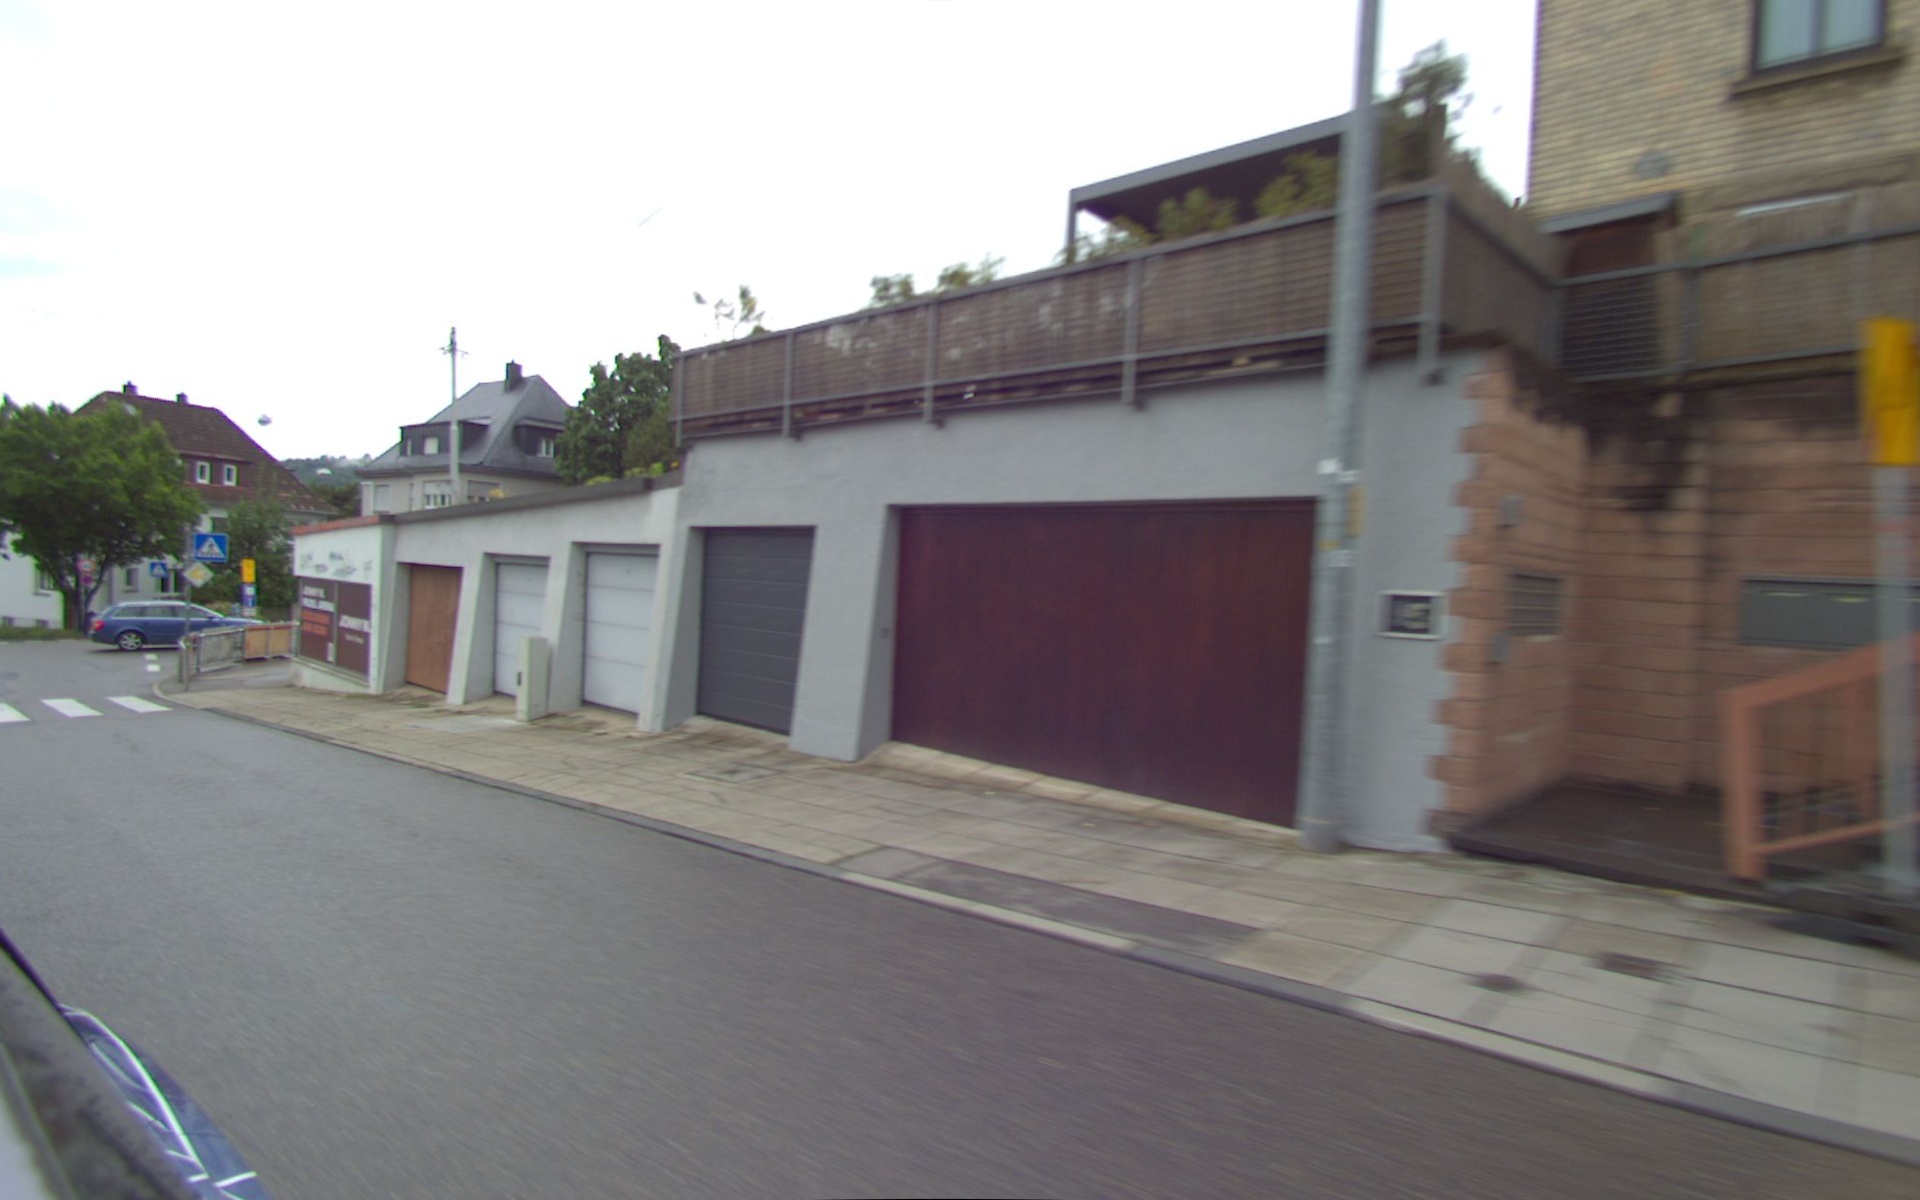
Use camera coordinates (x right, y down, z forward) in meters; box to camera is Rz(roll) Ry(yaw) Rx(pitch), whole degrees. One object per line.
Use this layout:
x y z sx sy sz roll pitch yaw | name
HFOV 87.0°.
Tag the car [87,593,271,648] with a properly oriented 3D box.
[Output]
-24.195 0.581 31.436 4.418 1.497 2.003 0 3 -41 | car
